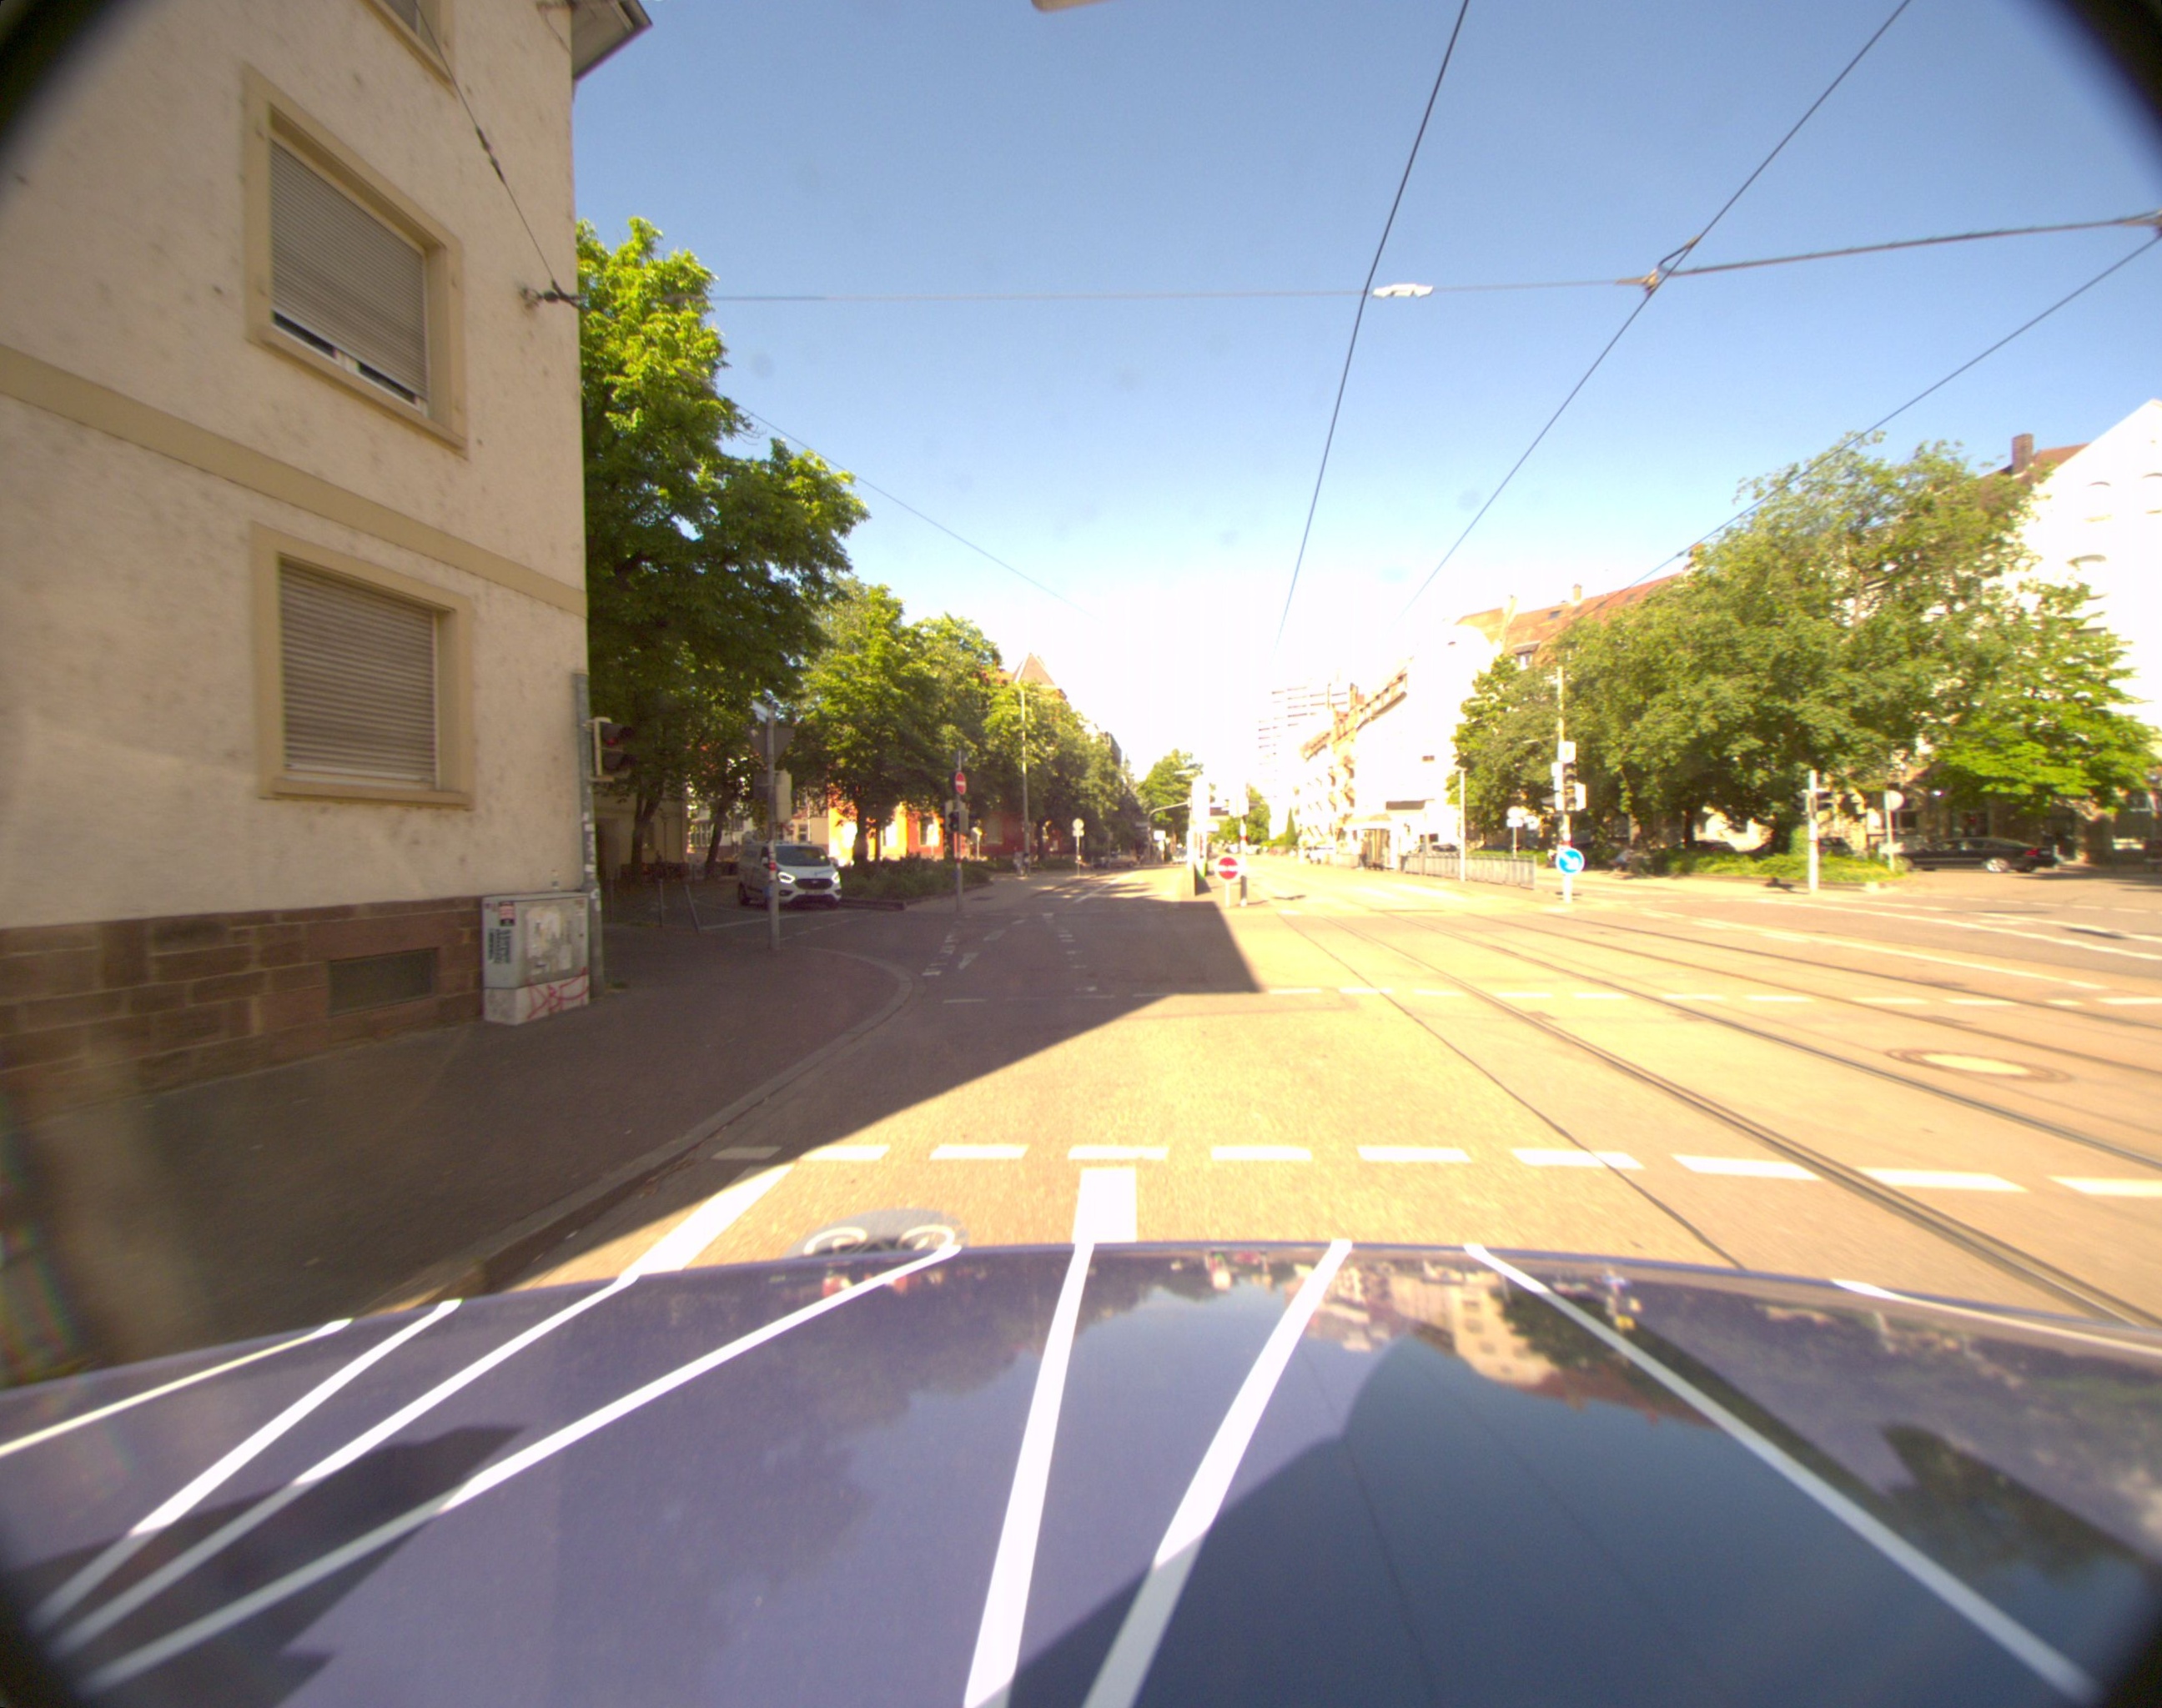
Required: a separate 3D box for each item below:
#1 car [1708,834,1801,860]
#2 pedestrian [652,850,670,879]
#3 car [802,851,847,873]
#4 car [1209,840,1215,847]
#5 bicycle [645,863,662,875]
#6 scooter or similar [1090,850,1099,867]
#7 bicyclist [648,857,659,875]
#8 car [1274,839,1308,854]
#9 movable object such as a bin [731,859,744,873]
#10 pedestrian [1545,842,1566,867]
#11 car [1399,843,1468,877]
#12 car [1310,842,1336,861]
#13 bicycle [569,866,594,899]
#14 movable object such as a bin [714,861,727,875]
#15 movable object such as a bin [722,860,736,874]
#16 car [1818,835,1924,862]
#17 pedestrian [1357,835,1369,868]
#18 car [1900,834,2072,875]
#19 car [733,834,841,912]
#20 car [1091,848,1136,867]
[{"bbox_3d":[34.915,-0.342,39.491,1.527,1.208,3.455,-3,1,-6],"label":"car"},{"bbox_3d":[-24.399,0.587,44.117,0.571,1.625,0.630,-3,1,8],"label":"pedestrian"},{"bbox_3d":[-22.155,0.715,65.666,3.793,1.707,1.638,-3,1,34],"label":"car"},{"bbox_3d":[41.802,-3.366,242.577,1.997,2.002,4.002,-3,1,9],"label":"car"},{"bbox_3d":[-23.478,0.807,41.766,0.432,0.633,0.917,-3,1,-4],"label":"bicycle"},{"bbox_3d":[1.030,0.336,58.542,0.519,1.241,1.277,-1,-1,9],"label":"scooter or similar"},{"bbox_3d":[-23.631,0.649,41.993,0.339,0.939,0.393,-3,1,-4],"label":"bicyclist"},{"bbox_3d":[26.704,-0.991,96.758,3.883,1.581,1.817,-3,5,4],"label":"car"},{"bbox_3d":[-24.465,0.882,54.145,0.641,0.959,0.544,-2,1,36],"label":"movable object such as a bin"},{"bbox_3d":[25.141,0.012,40.256,0.658,1.274,0.724,-3,1,8],"label":"pedestrian"},{"bbox_3d":[17.649,0.245,38.272,1.901,1.609,4.266,0,1,7],"label":"car"},{"bbox_3d":[20.945,-0.282,65.819,1.693,1.531,3.801,2,2,11],"label":"car"},{"bbox_3d":[-17.798,1.009,27.108,0.477,1.146,1.988,1,-2,-26],"label":"bicycle"},{"bbox_3d":[-25.173,0.971,53.091,0.641,0.959,0.544,-2,1,36],"label":"movable object such as a bin"},{"bbox_3d":[-24.824,0.931,53.619,0.641,0.959,0.583,-2,1,36],"label":"movable object such as a bin"},{"bbox_3d":[35.422,-0.255,34.182,1.467,1.089,3.144,-3,1,0],"label":"car"},{"bbox_3d":[15.586,-0.154,41.996,0.466,1.774,0.674,-1,1,7],"label":"pedestrian"},{"bbox_3d":[35.632,-0.031,30.079,1.740,1.534,4.011,0,1,-14],"label":"car"},{"bbox_3d":[-9.036,0.555,23.105,1.690,2.080,4.745,-4,1,-38],"label":"car"},{"bbox_3d":[2.840,0.280,65.792,3.619,1.390,1.723,-4,1,-38],"label":"car"}]
